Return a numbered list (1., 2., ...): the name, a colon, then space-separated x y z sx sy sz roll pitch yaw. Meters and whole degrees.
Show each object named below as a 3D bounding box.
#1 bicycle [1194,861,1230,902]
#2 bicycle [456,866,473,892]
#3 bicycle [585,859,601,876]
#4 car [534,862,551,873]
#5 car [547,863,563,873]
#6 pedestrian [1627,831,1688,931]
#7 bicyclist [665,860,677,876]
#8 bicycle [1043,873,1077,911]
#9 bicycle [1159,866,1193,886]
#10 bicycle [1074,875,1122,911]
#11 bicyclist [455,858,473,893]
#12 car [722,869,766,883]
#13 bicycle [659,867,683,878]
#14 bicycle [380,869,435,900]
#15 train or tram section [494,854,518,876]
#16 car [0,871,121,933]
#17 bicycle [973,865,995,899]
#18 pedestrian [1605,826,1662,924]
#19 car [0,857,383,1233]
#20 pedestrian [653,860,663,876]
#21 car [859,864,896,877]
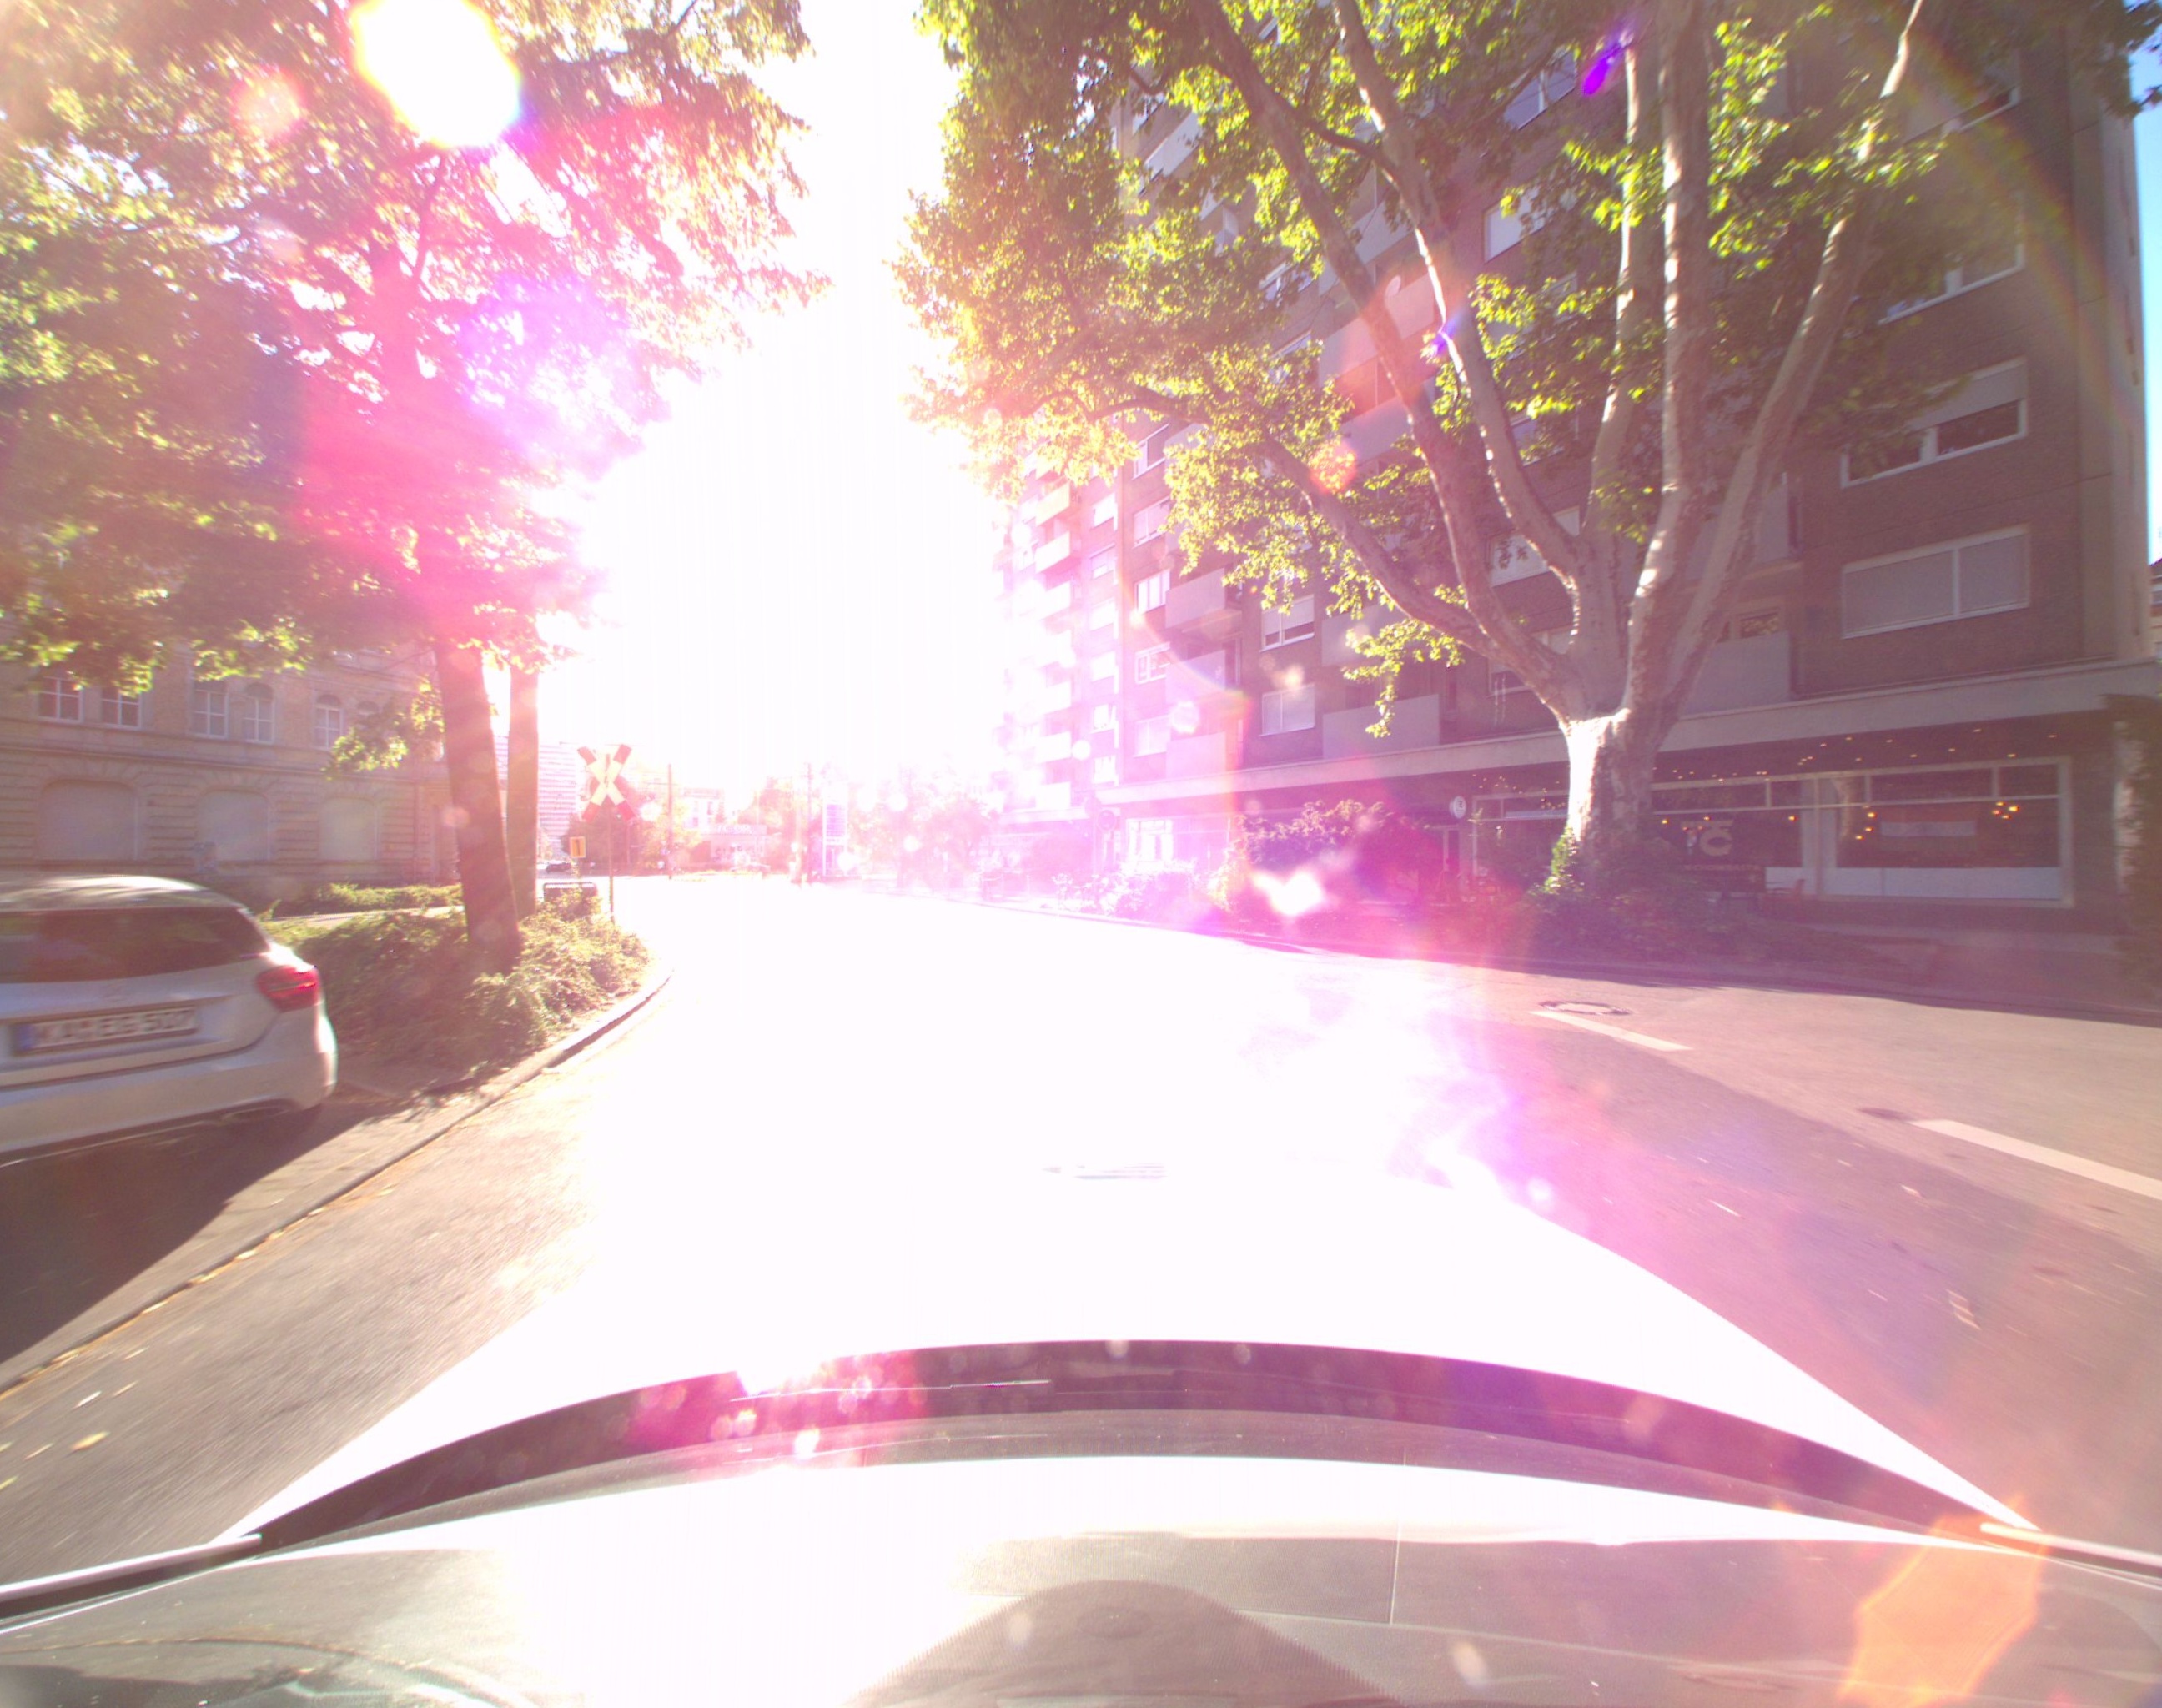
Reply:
1. bicycle: 3.403 0.695 21.246 0.350 1.038 1.043 -1 0 -28
2. bicycle: -27.141 1.090 35.859 0.505 1.133 2.103 -1 -1 -35
3. bicycle: -53.118 1.494 88.708 1.359 1.806 0.563 -1 0 -22
4. car: -79.884 1.993 120.848 2.007 1.464 3.959 -1 0 -32
5. car: -84.127 2.202 130.322 2.007 1.486 3.959 -1 0 -32
6. pedestrian: 10.117 0.460 14.294 0.689 1.692 0.638 -1 -1 -32
7. bicyclist: -37.093 1.297 73.668 0.810 1.413 0.617 0 -1 -35
8. bicycle: -0.626 1.082 23.794 0.639 1.022 2.080 -1 0 -11
9. bicycle: 4.389 0.995 37.725 0.647 0.899 1.633 0 -1 -36
10. bicycle: 0.437 1.048 22.320 0.545 0.904 1.720 -1 0 -28
11. bicyclist: -27.080 0.949 35.758 0.596 1.491 0.695 -1 -1 -35
12. car: -39.418 2.588 95.300 4.481 1.487 1.772 -1 0 -14
13. bicycle: -37.067 1.658 73.669 1.847 0.984 0.726 -1 -1 -36
14. bicycle: -28.455 1.266 34.420 0.497 1.206 1.799 2 0 15
15. train or tram section: -97.760 1.879 138.634 2.256 3.574 14.136 -1 0 -31
16. car: -27.515 1.219 20.712 1.838 1.429 3.507 2 1 12
17. bicycle: -3.701 1.045 31.000 0.639 1.226 2.080 -1 0 -11
18. pedestrian: 10.296 0.374 15.174 0.689 1.773 0.629 -1 -1 -32
19. car: -6.031 0.750 4.321 4.242 1.429 1.784 1 -1 23
20. pedestrian: -45.142 1.503 86.910 0.932 1.692 0.769 0 -1 -32
21. car: -23.044 1.848 92.368 3.997 1.453 1.799 -1 -1 -18
